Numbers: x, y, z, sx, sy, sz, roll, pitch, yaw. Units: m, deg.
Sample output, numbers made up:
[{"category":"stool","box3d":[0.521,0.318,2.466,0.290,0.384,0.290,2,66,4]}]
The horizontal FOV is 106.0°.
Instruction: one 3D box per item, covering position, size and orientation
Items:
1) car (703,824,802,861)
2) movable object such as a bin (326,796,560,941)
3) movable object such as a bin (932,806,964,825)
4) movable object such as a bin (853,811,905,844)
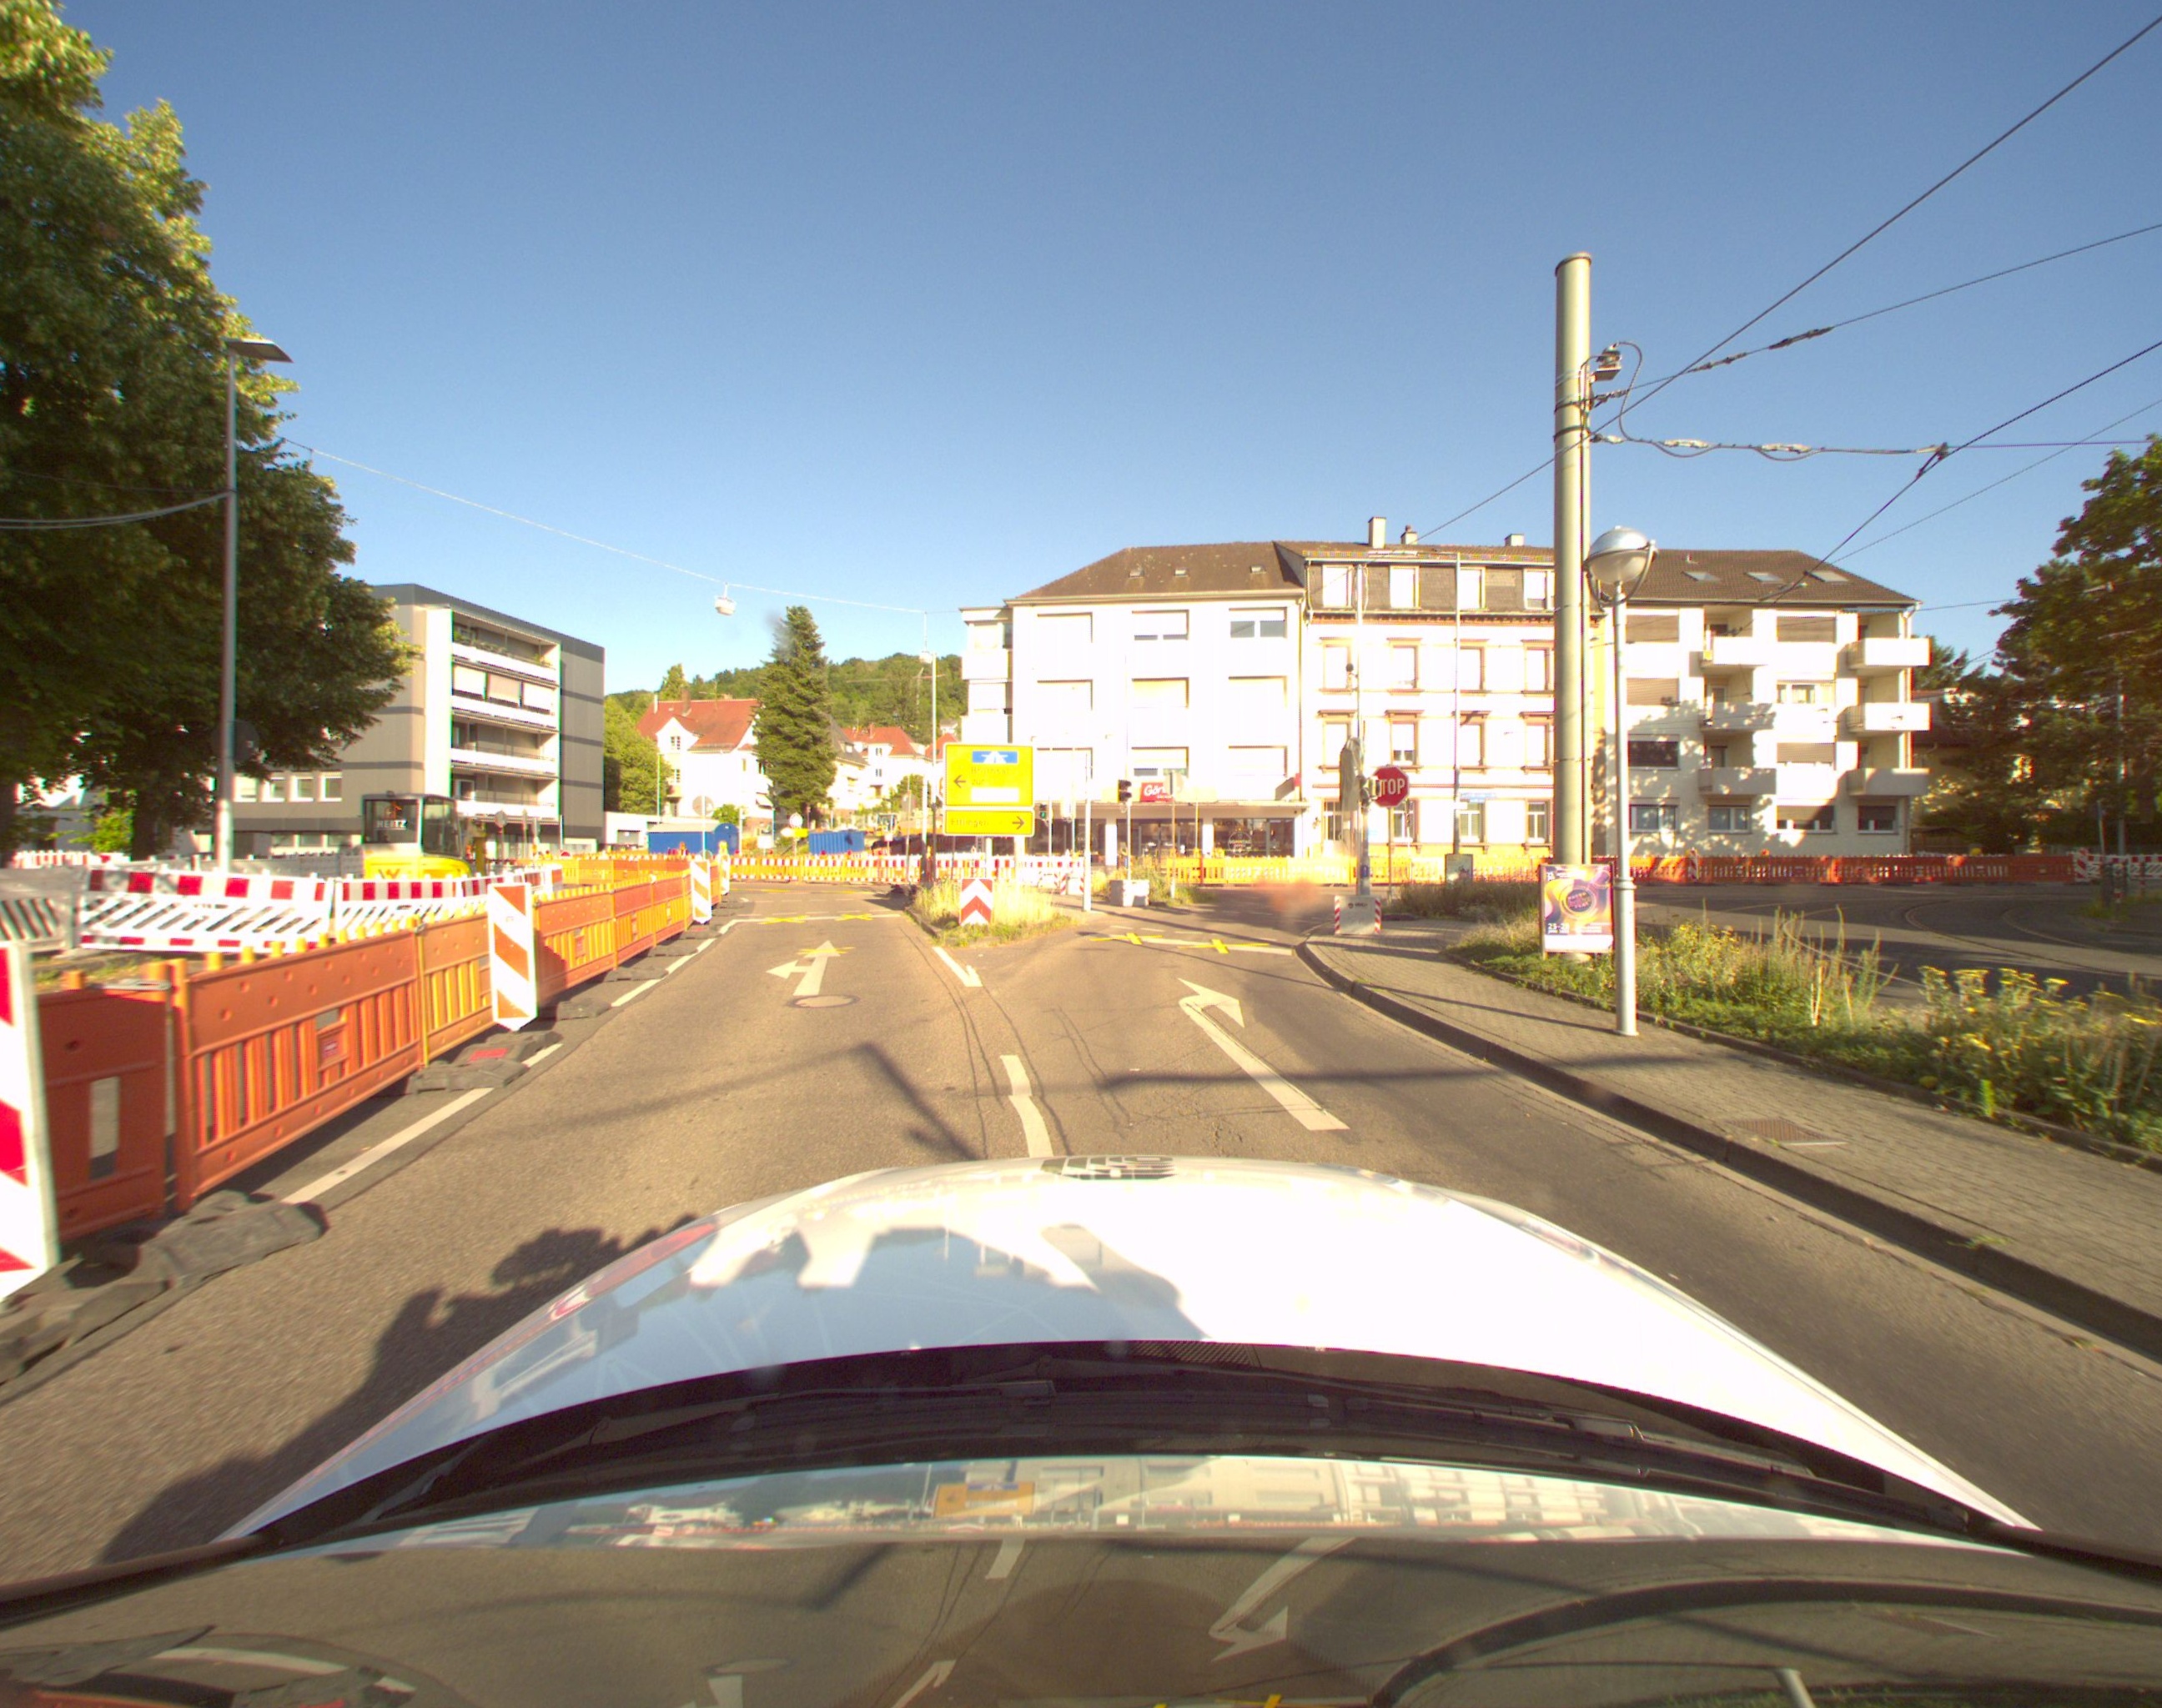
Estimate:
[{"category":"car","box3d":[-20.492,-0.714,51.247,2.564,2.120,6.175,-1,0,15]},{"category":"movable object such as a bin","box3d":[-11.558,0.193,15.131,1.646,2.324,3.909,-1,1,-9]},{"category":"movable object such as a bin","box3d":[-16.330,-4.703,100.277,2.553,2.121,5.793,-1,0,5]},{"category":"movable object such as a bin","box3d":[-15.900,-2.024,64.353,1.934,2.494,4.570,-1,0,15]}]
